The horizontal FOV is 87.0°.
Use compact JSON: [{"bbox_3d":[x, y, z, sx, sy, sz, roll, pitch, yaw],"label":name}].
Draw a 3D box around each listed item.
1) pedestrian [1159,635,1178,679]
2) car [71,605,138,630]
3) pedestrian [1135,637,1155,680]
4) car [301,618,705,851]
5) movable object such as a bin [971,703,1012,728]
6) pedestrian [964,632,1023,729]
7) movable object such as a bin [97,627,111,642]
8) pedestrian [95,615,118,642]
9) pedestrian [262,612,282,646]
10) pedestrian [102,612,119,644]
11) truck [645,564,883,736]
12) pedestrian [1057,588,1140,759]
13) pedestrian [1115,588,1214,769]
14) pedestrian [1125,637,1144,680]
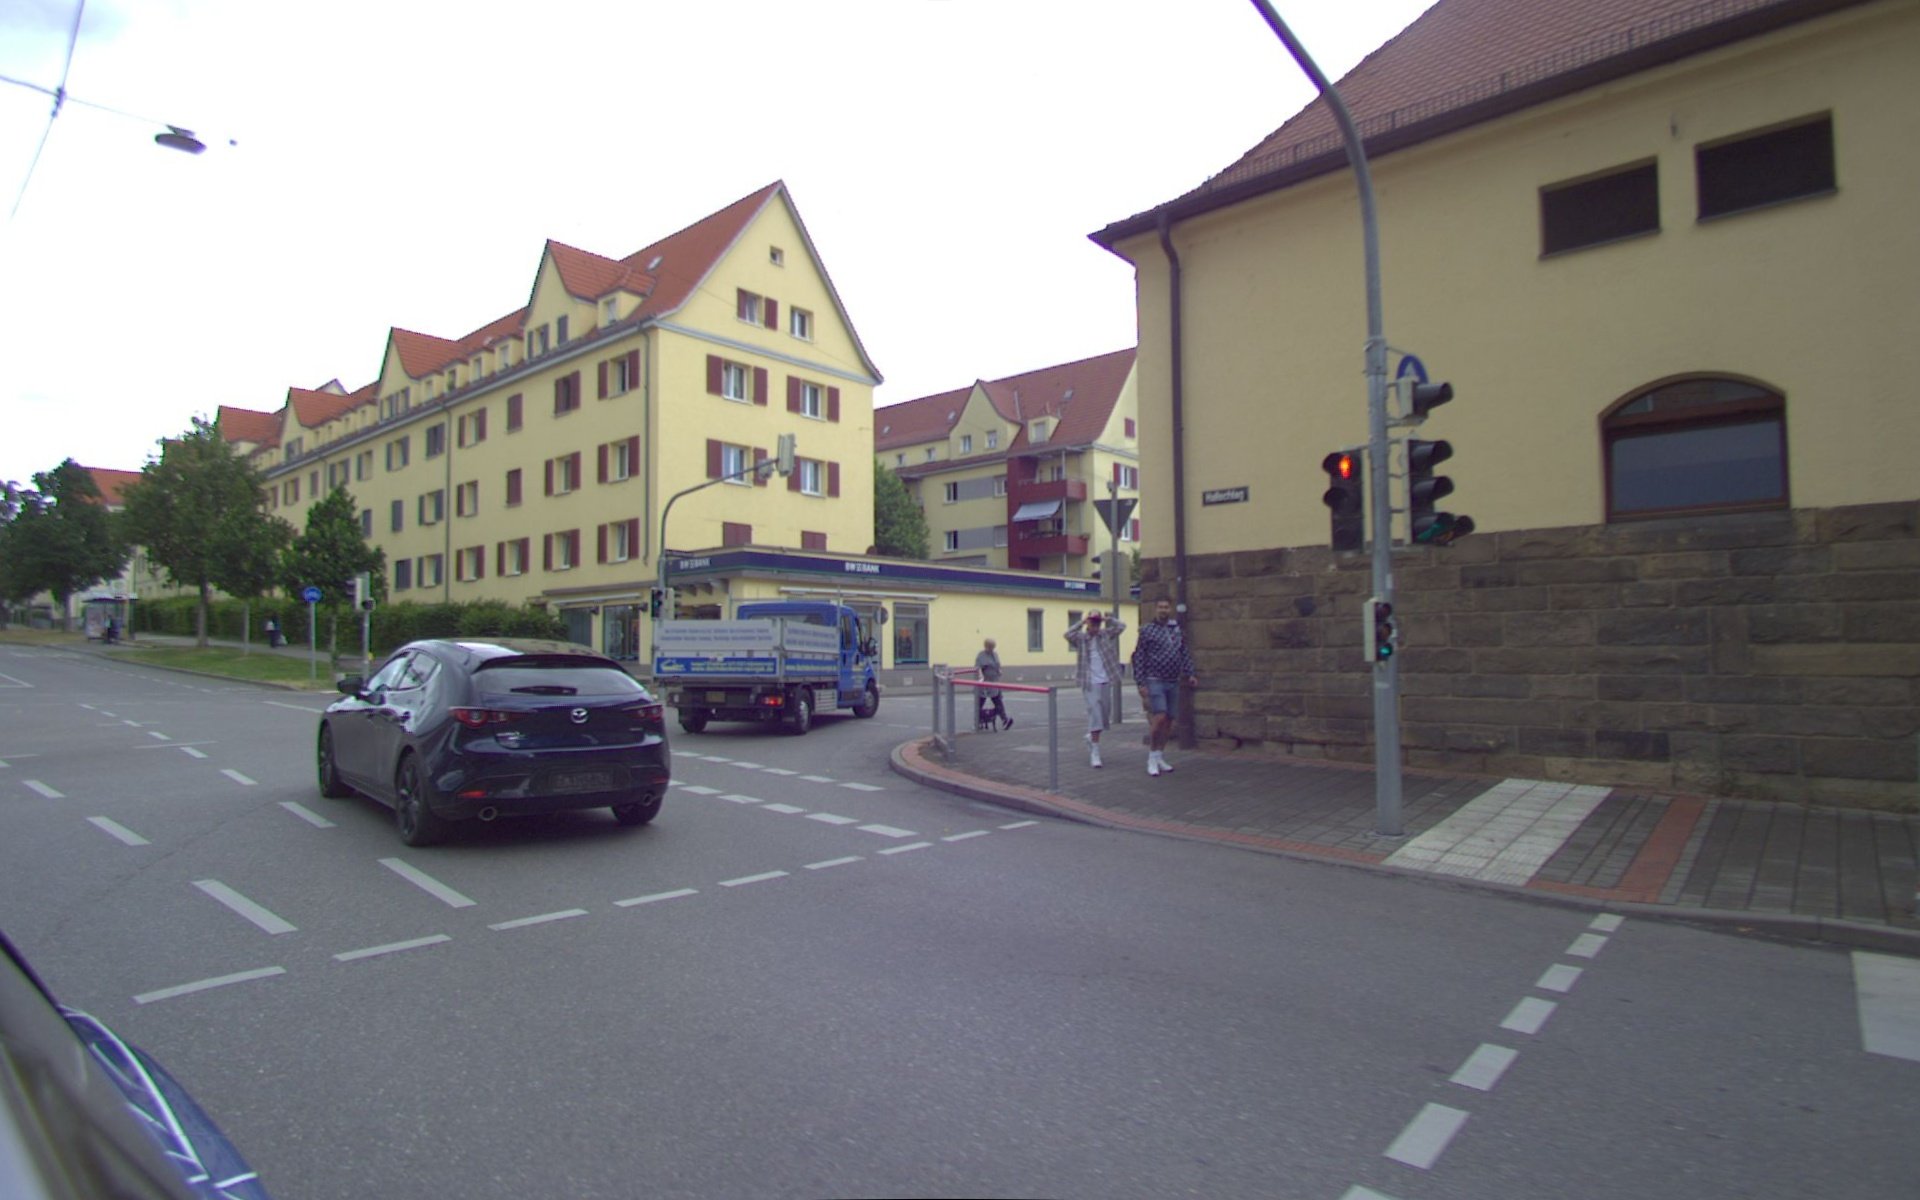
[{"bbox_3d":[9.757,2.658,47.321,0.682,2.029,0.679,-1,-2,35],"label":"pedestrian"},{"bbox_3d":[-83.092,1.739,98.313,1.994,2.270,4.668,-1,-3,41],"label":"car"},{"bbox_3d":[8.750,2.753,47.801,0.683,2.029,0.679,-1,-2,38],"label":"pedestrian"},{"bbox_3d":[-3.940,0.917,8.329,1.683,1.425,4.195,5,-5,-44],"label":"car"},{"bbox_3d":[0.477,1.763,15.441,0.303,0.350,0.581,4,-5,-45],"label":"movable object such as a bin"},{"bbox_3d":[0.560,1.324,16.974,0.557,1.578,0.843,2,-2,-44],"label":"pedestrian"},{"bbox_3d":[-48.826,1.962,57.706,0.665,0.852,0.531,-1,-1,42],"label":"movable object such as a bin"},{"bbox_3d":[-48.733,1.604,57.809,0.806,1.521,0.890,-1,-1,41],"label":"pedestrian"},{"bbox_3d":[-33.426,1.414,49.187,0.617,1.631,0.634,-1,-2,40],"label":"pedestrian"},{"bbox_3d":[-46.990,1.525,55.979,0.861,1.740,0.591,-1,-2,43],"label":"pedestrian"},{"bbox_3d":[-3.101,0.871,17.910,2.275,2.446,6.397,1,-3,7],"label":"truck"},{"bbox_3d":[1.510,0.778,11.023,0.716,1.790,0.558,-1,-2,40],"label":"pedestrian"},{"bbox_3d":[2.114,0.787,10.488,0.842,1.790,0.558,-1,-2,40],"label":"pedestrian"},{"bbox_3d":[8.336,2.783,48.228,0.682,2.029,0.680,-1,-2,33],"label":"pedestrian"}]
